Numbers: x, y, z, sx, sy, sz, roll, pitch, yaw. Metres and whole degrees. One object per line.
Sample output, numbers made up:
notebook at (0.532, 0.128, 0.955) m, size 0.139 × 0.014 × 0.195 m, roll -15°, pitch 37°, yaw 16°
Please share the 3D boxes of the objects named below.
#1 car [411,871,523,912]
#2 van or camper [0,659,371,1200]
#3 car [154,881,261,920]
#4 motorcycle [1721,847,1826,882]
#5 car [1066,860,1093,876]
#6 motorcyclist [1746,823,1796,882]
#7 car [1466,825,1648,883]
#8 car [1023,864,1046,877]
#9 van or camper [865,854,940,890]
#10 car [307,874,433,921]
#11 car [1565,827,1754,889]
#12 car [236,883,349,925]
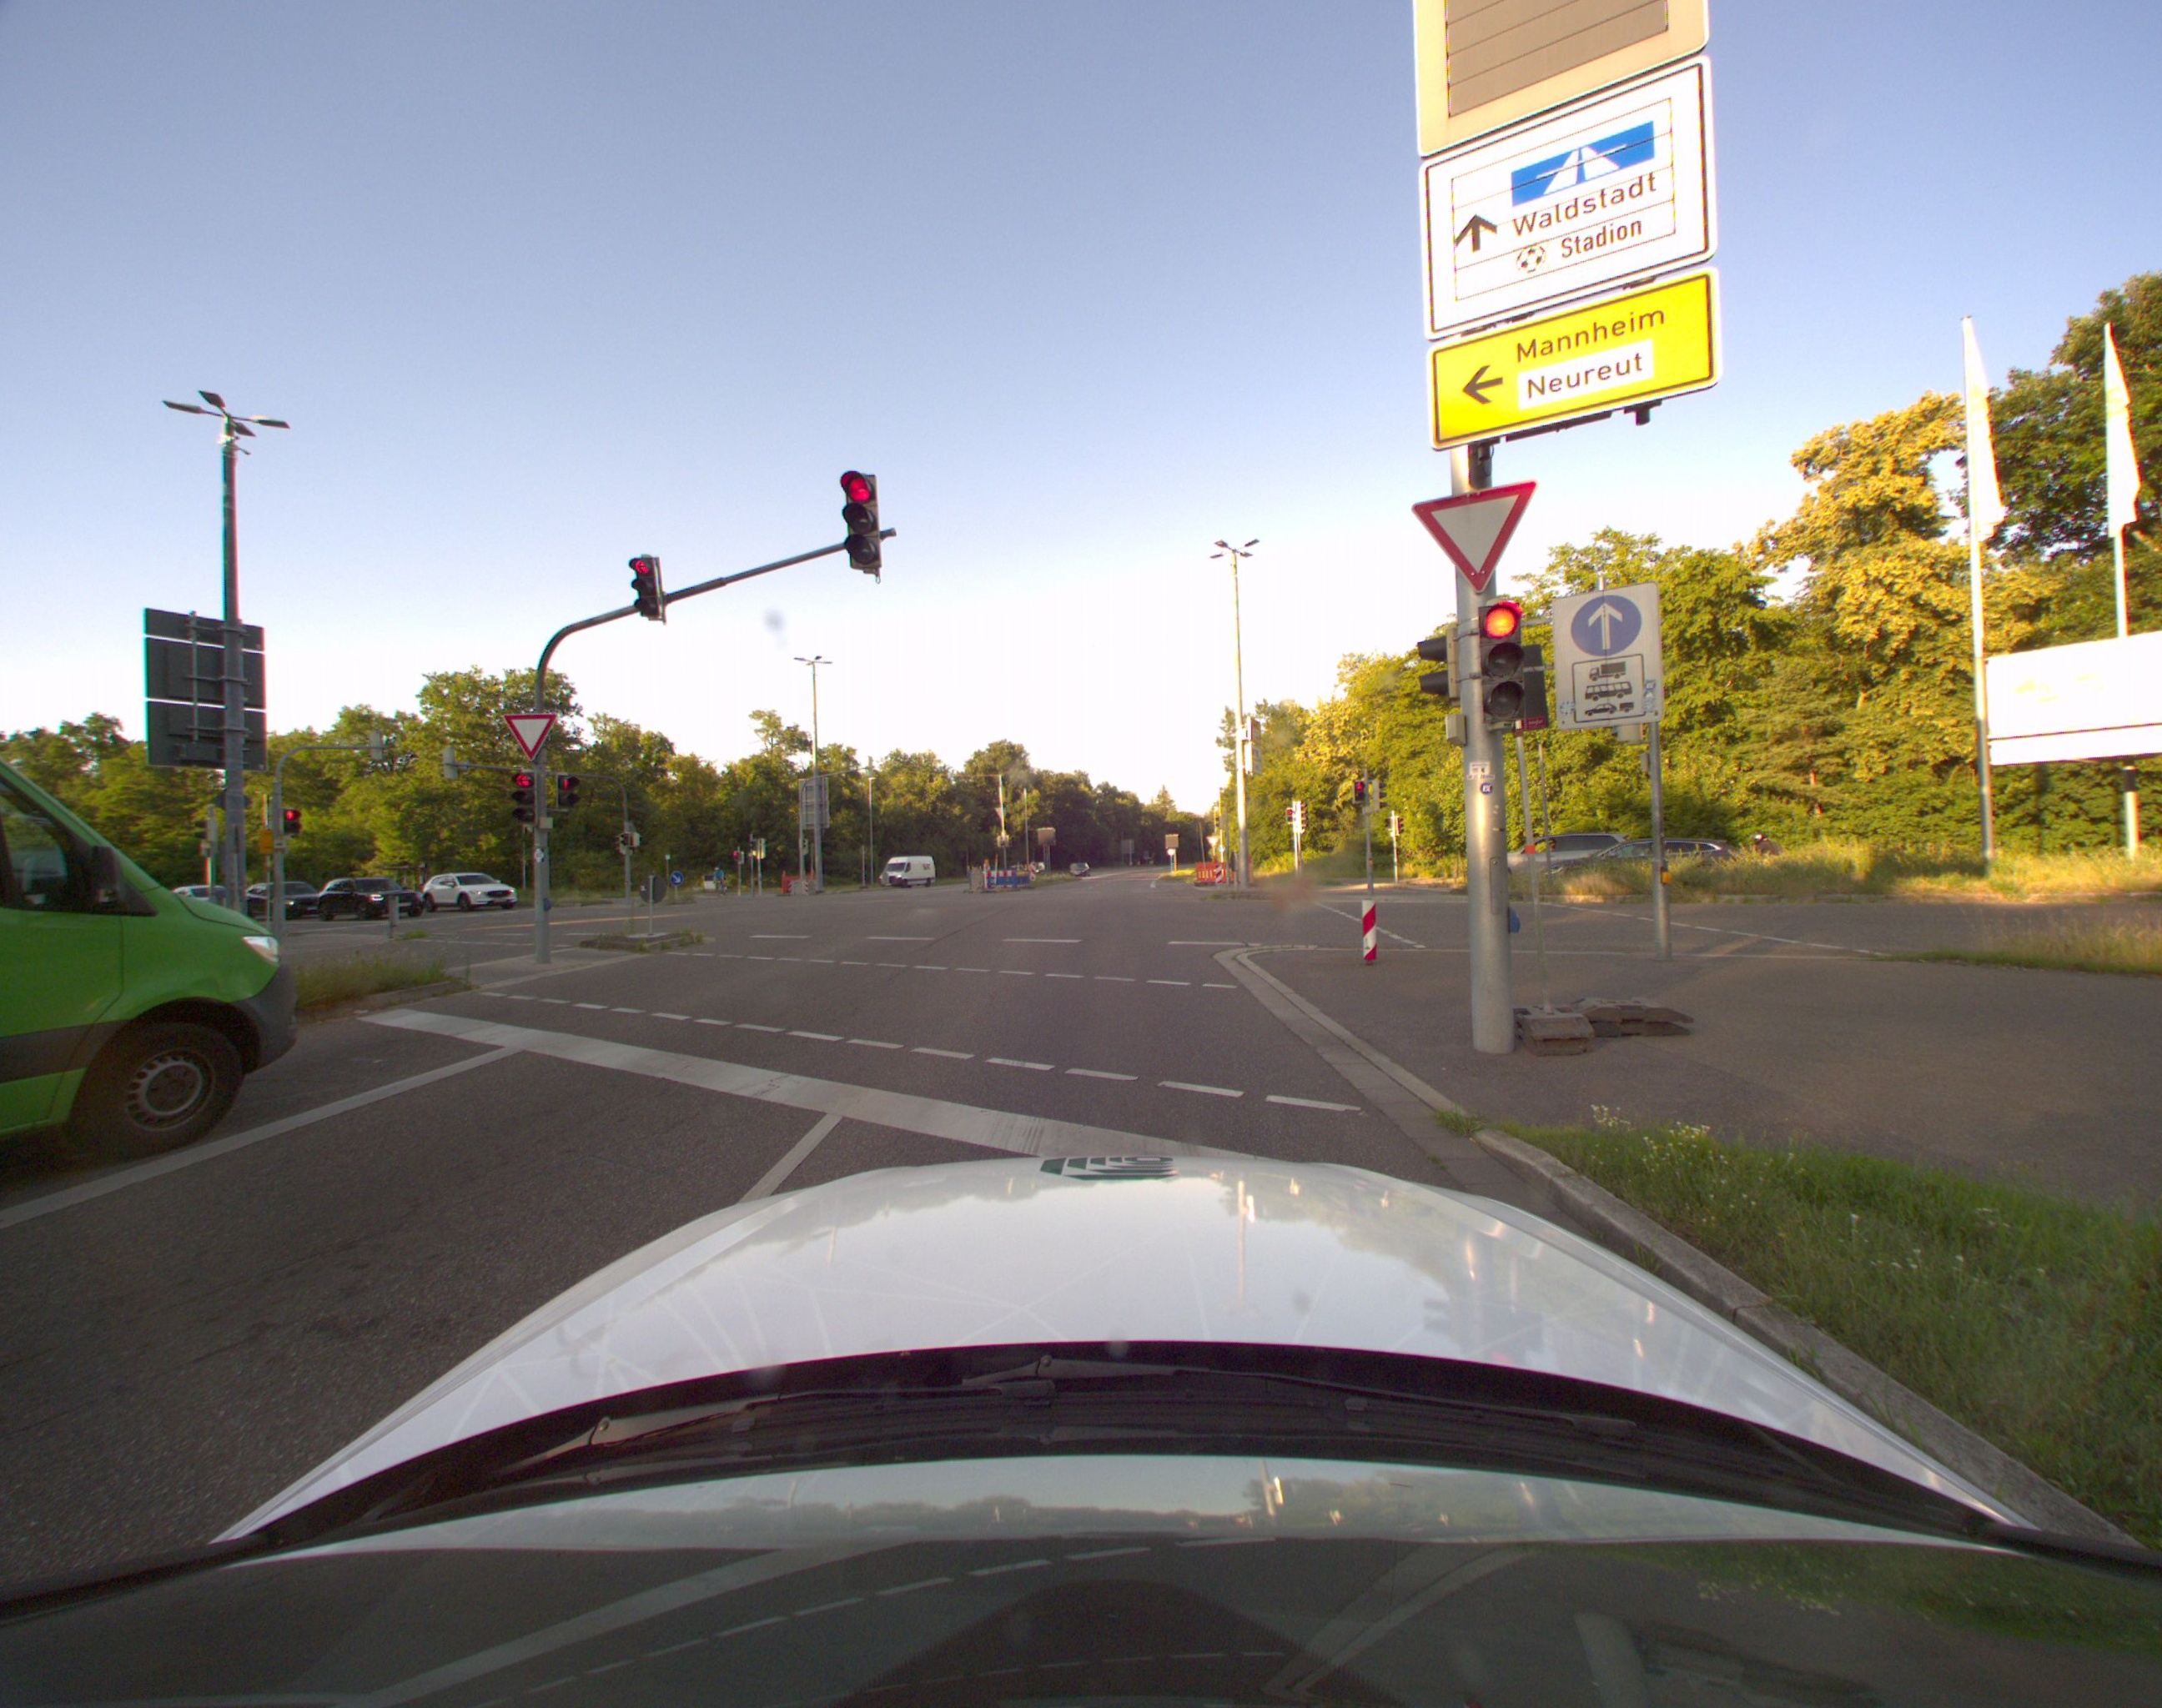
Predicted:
car at (-26.756, 1.626, 35.495) m, size 4.206 × 1.640 × 2.011 m, roll -2°, pitch 0°, yaw 23°
van or camper at (-5.855, 0.357, 2.557) m, size 1.987 × 2.421 × 5.896 m, roll -2°, pitch 0°, yaw 1°
car at (-41.254, 2.190, 38.472) m, size 4.207 × 1.640 × 2.011 m, roll -2°, pitch 0°, yaw 21°
motorcycle at (19.442, 0.295, 22.922) m, size 2.125 × 0.910 × 0.666 m, roll -2°, pitch 0°, yaw 23°
car at (-0.127, 1.565, 92.577) m, size 1.979 × 1.640 × 4.016 m, roll -3°, pitch 0°, yaw 14°
motorcyclist at (19.419, -0.044, 22.923) m, size 0.878 × 1.595 × 0.658 m, roll -2°, pitch -1°, yaw 23°
car at (15.034, 0.025, 26.074) m, size 4.773 × 1.598 × 2.011 m, roll -2°, pitch 0°, yaw 23°
car at (-6.344, 2.240, 111.162) m, size 1.980 × 1.640 × 4.014 m, roll -2°, pitch 0°, yaw 12°
van or camper at (-14.522, 1.407, 66.775) m, size 2.863 × 2.652 × 7.152 m, roll -2°, pitch 0°, yaw 16°
car at (-27.550, 1.683, 31.556) m, size 4.206 × 1.640 × 2.011 m, roll -2°, pitch 0°, yaw 23°
car at (15.374, 0.132, 21.902) m, size 3.827 × 1.489 × 1.781 m, roll -2°, pitch 0°, yaw 24°
car at (-33.922, 2.136, 35.031) m, size 4.205 × 1.640 × 2.011 m, roll -2°, pitch 0°, yaw 23°
